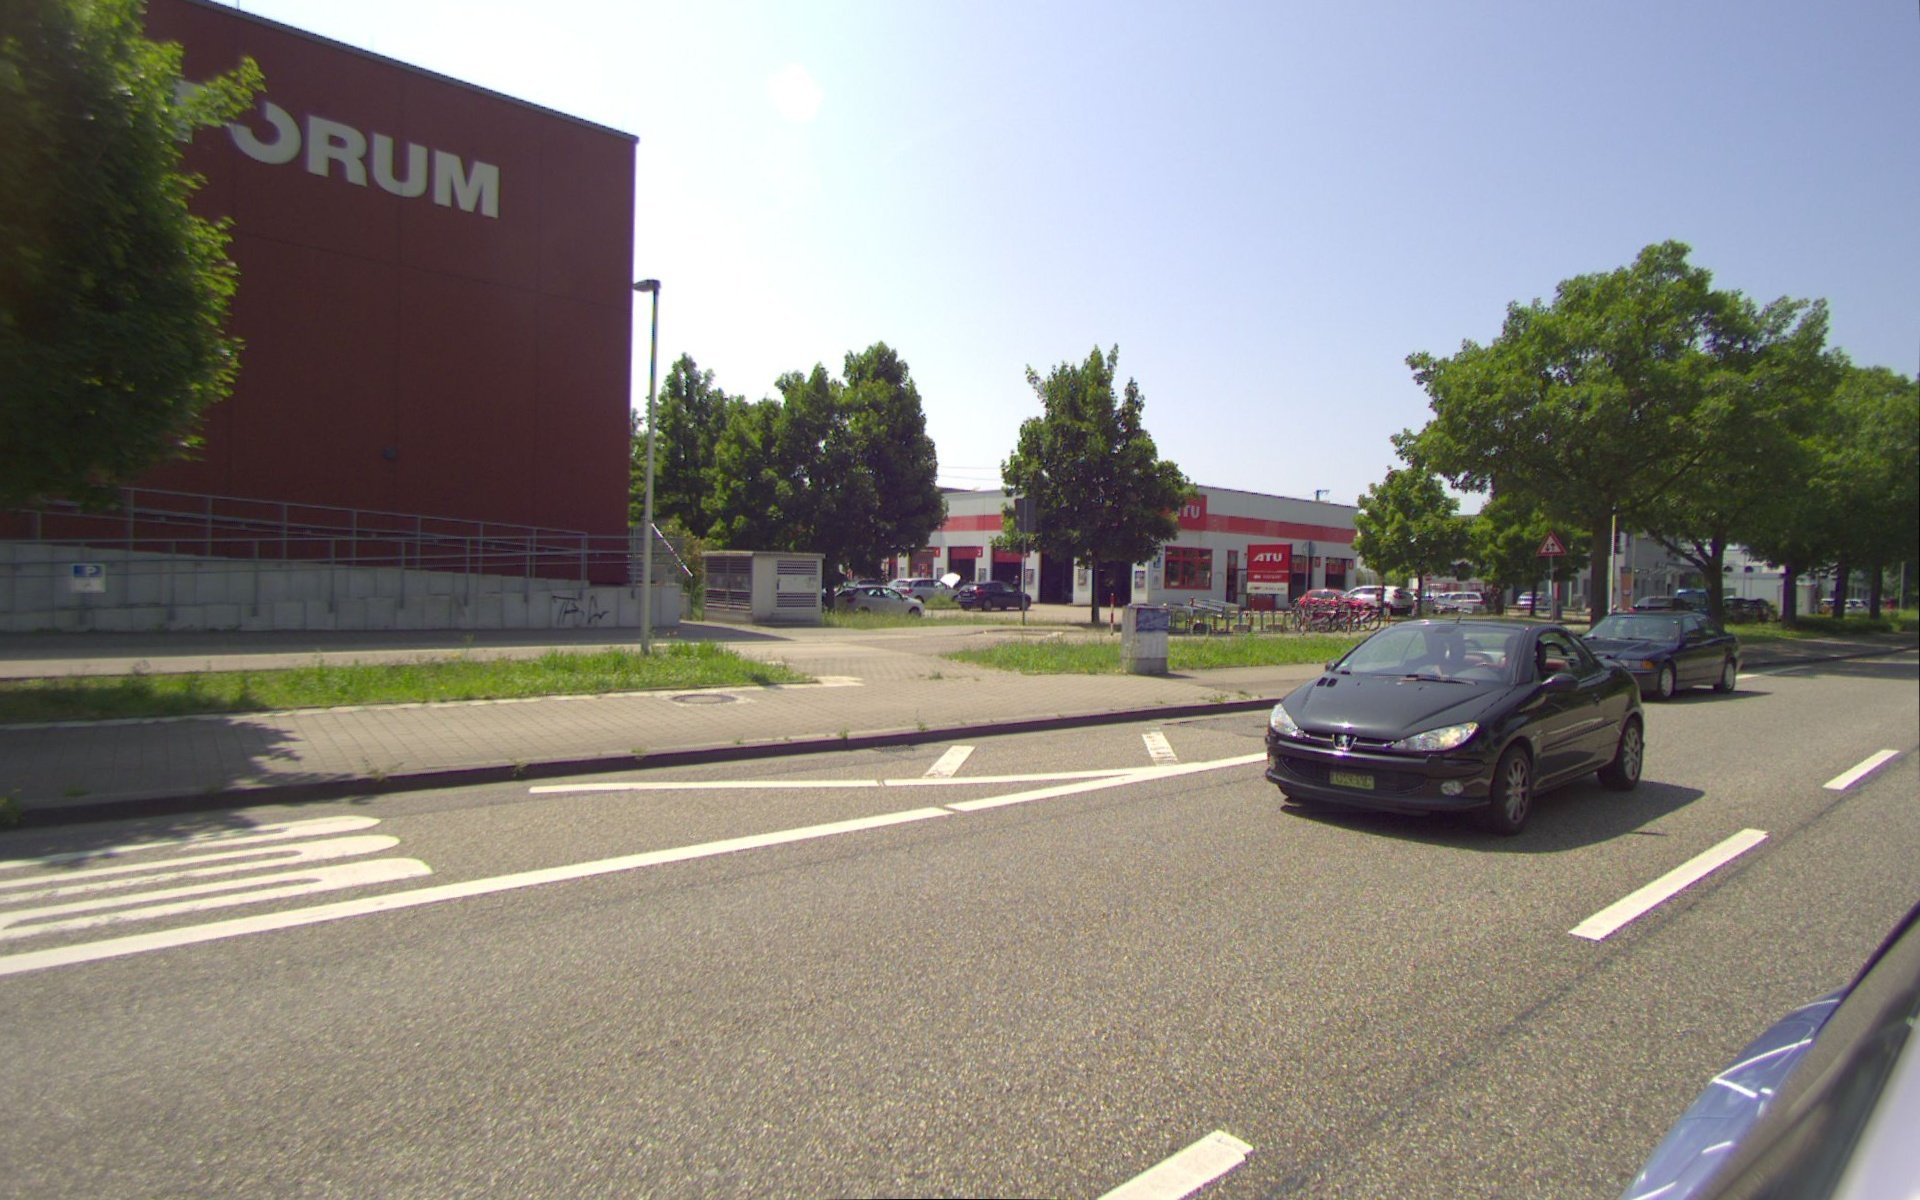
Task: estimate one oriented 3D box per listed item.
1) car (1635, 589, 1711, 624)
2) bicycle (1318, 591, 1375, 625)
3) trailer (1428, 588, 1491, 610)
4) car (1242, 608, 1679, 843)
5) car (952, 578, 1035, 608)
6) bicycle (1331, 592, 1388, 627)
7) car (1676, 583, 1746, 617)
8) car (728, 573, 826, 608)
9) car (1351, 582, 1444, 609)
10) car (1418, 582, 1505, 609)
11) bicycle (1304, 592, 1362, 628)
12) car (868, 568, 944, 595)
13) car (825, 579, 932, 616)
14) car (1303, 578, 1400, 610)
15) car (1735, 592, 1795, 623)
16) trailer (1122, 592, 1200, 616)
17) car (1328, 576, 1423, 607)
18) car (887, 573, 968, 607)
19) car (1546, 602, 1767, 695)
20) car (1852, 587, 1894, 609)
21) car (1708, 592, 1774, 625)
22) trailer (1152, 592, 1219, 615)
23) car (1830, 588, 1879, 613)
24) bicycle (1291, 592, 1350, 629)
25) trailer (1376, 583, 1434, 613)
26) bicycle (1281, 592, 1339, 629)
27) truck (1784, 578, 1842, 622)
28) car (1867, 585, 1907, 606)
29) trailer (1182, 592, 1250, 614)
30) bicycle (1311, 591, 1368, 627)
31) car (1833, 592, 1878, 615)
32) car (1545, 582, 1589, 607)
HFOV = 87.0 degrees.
[{"bbox_3d":[30.174,0.278,42.819,3.928,1.388,1.642,0,1,-40],"label":"car"},{"bbox_3d":[13.487,0.267,35.322,1.779,1.138,0.506,3,1,44],"label":"bicycle"},{"bbox_3d":[26.703,-0.059,54.149,1.551,1.065,2.639,1,2,-42],"label":"trailer"},{"bbox_3d":[4.008,0.747,7.818,3.930,1.361,1.640,0,-1,-41],"label":"car"},{"bbox_3d":[1.721,-0.339,50.975,4.072,1.390,1.716,0,2,-41],"label":"car"},{"bbox_3d":[14.091,0.318,35.722,1.779,1.138,0.506,3,1,44],"label":"bicycle"},{"bbox_3d":[34.745,-0.008,46.792,3.928,1.485,1.719,0,1,-40],"label":"car"},{"bbox_3d":[-8.056,-0.406,44.722,3.928,1.444,1.711,0,1,-39],"label":"car"},{"bbox_3d":[22.318,-0.225,51.710,1.718,1.223,3.993,0,2,-43],"label":"car"},{"bbox_3d":[27.792,-0.272,56.121,1.661,1.317,3.993,1,2,-42],"label":"car"},{"bbox_3d":[12.681,0.323,34.436,1.779,1.138,0.506,3,1,44],"label":"bicycle"},{"bbox_3d":[-2.960,-1.032,55.851,3.930,1.389,1.725,0,2,-41],"label":"car"},{"bbox_3d":[-3.135,-0.094,39.274,3.903,1.329,1.652,0,2,-41],"label":"car"},{"bbox_3d":[18.828,-0.305,48.762,1.717,1.419,3.993,1,2,-42],"label":"car"},{"bbox_3d":[43.047,0.408,54.109,3.928,1.532,1.719,0,1,-40],"label":"car"},{"bbox_3d":[7.347,0.145,37.108,1.423,0.771,2.467,0,2,-38],"label":"trailer"},{"bbox_3d":[20.570,-0.433,50.167,1.718,1.419,3.993,1,2,-43],"label":"car"},{"bbox_3d":[-1.673,-0.528,53.450,4.072,1.683,1.716,0,2,-41],"label":"car"},{"bbox_3d":[11.599,0.730,16.790,4.065,1.388,1.643,0,-1,-34],"label":"car"},{"bbox_3d":[66.976,-0.132,74.257,3.928,1.485,1.719,0,1,-40],"label":"car"},{"bbox_3d":[38.729,0.424,50.161,3.928,1.539,1.719,0,1,-40],"label":"car"},{"bbox_3d":[8.499,0.126,38.225,1.244,0.771,2.138,1,2,-38],"label":"trailer"},{"bbox_3d":[56.880,0.010,64.327,3.928,1.485,1.719,0,1,-40],"label":"car"},{"bbox_3d":[12.078,0.336,33.931,1.779,1.138,0.506,3,1,44],"label":"bicycle"},{"bbox_3d":[24.790,-0.123,56.419,1.391,1.546,2.639,1,2,-42],"label":"trailer"},{"bbox_3d":[11.598,0.328,33.572,1.779,1.138,0.506,3,1,44],"label":"bicycle"},{"bbox_3d":[51.845,-0.008,61.507,3.927,2.599,1.905,1,1,-39],"label":"truck"},{"bbox_3d":[71.463,-0.331,78.009,3.928,1.485,1.719,0,1,-40],"label":"car"},{"bbox_3d":[9.930,0.102,39.300,1.368,0.771,2.138,0,2,-38],"label":"trailer"},{"bbox_3d":[13.086,0.301,34.909,1.779,1.138,0.506,3,1,44],"label":"bicycle"},{"bbox_3d":[61.288,0.251,69.244,3.928,1.485,1.719,0,1,-40],"label":"car"},{"bbox_3d":[41.248,-0.352,68.714,1.754,1.616,3.938,2,2,43],"label":"car"}]
